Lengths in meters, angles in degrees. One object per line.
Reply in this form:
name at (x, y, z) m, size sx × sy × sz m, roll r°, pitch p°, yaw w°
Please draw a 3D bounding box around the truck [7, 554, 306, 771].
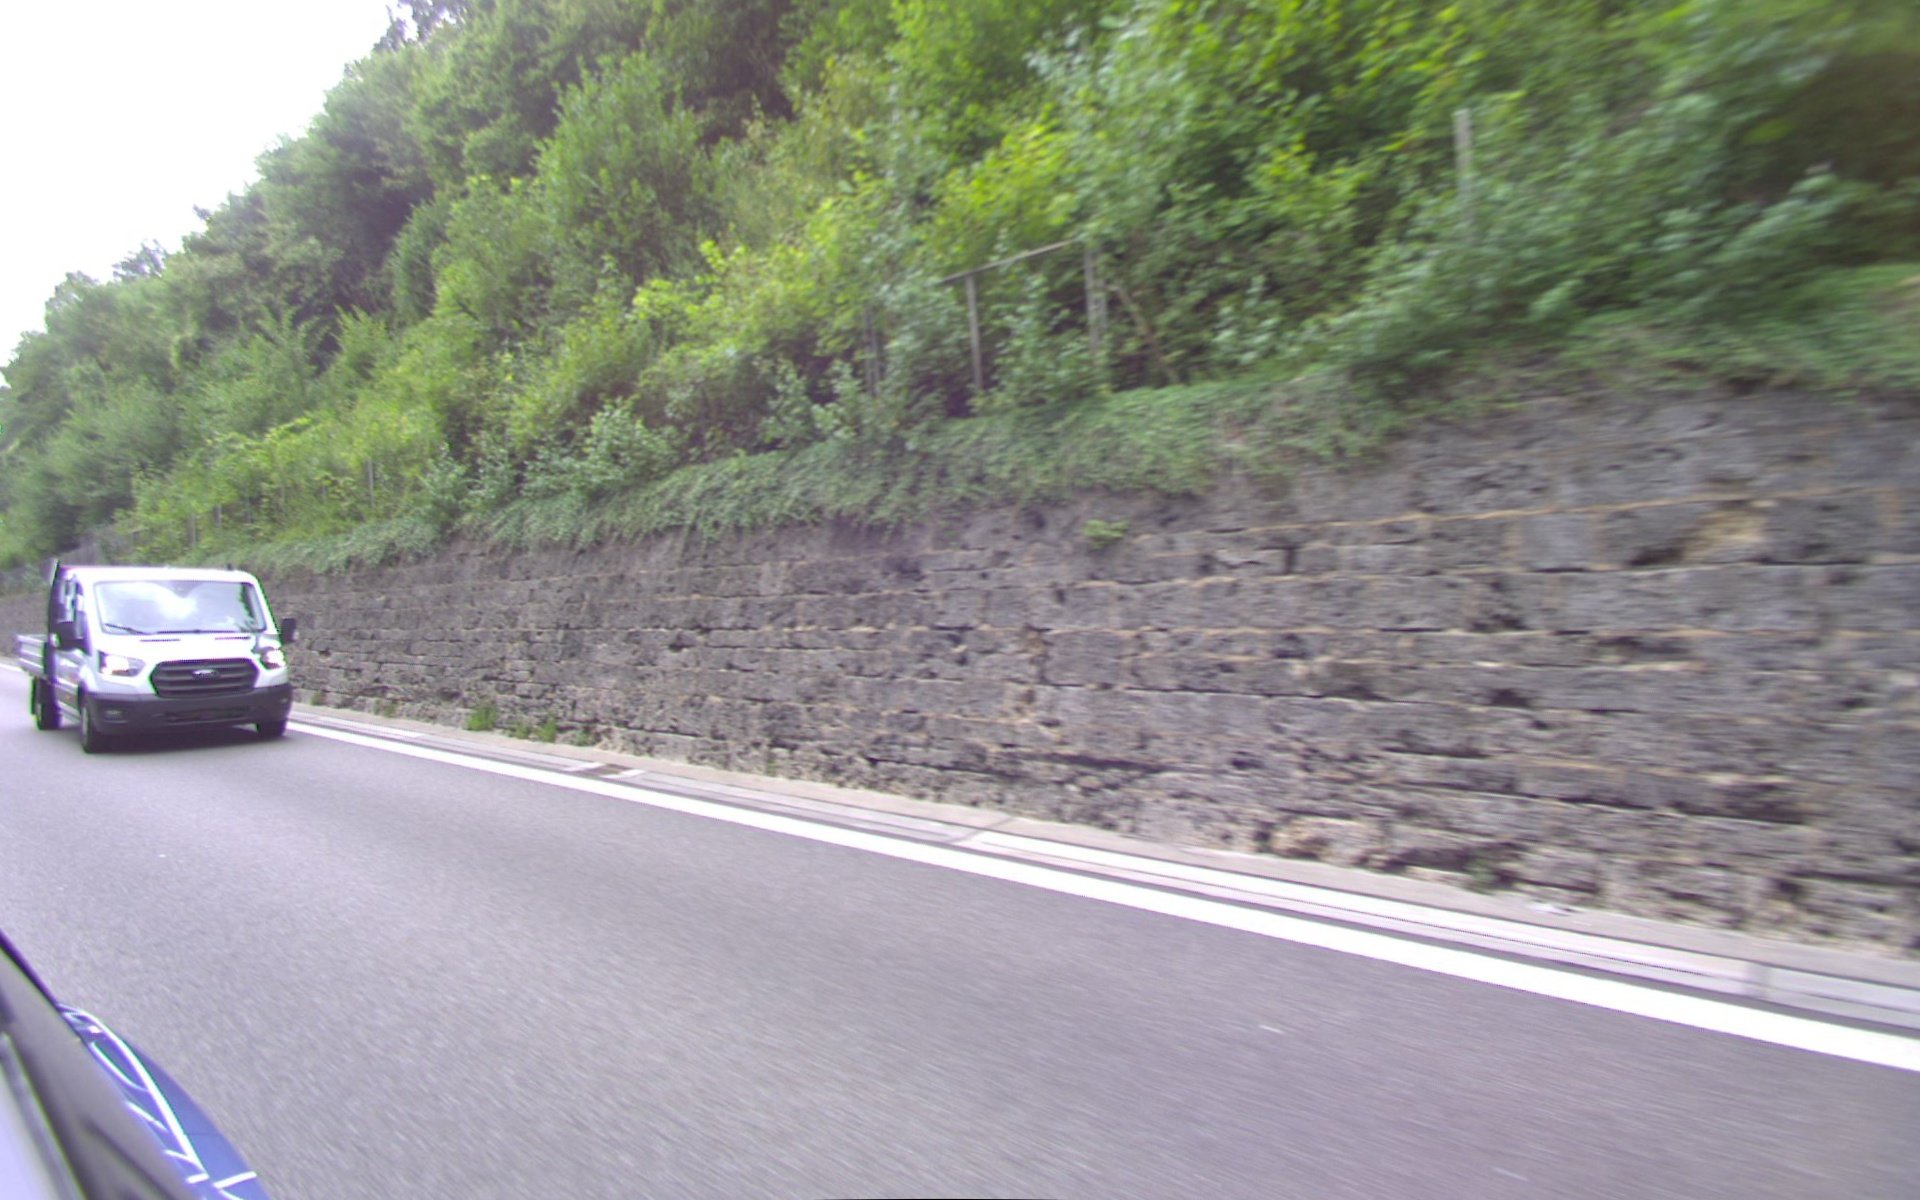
truck at (-11.038, 0.724, 13.635) m, size 6.582 × 2.297 × 1.973 m, roll -2°, pitch -1°, yaw 41°
